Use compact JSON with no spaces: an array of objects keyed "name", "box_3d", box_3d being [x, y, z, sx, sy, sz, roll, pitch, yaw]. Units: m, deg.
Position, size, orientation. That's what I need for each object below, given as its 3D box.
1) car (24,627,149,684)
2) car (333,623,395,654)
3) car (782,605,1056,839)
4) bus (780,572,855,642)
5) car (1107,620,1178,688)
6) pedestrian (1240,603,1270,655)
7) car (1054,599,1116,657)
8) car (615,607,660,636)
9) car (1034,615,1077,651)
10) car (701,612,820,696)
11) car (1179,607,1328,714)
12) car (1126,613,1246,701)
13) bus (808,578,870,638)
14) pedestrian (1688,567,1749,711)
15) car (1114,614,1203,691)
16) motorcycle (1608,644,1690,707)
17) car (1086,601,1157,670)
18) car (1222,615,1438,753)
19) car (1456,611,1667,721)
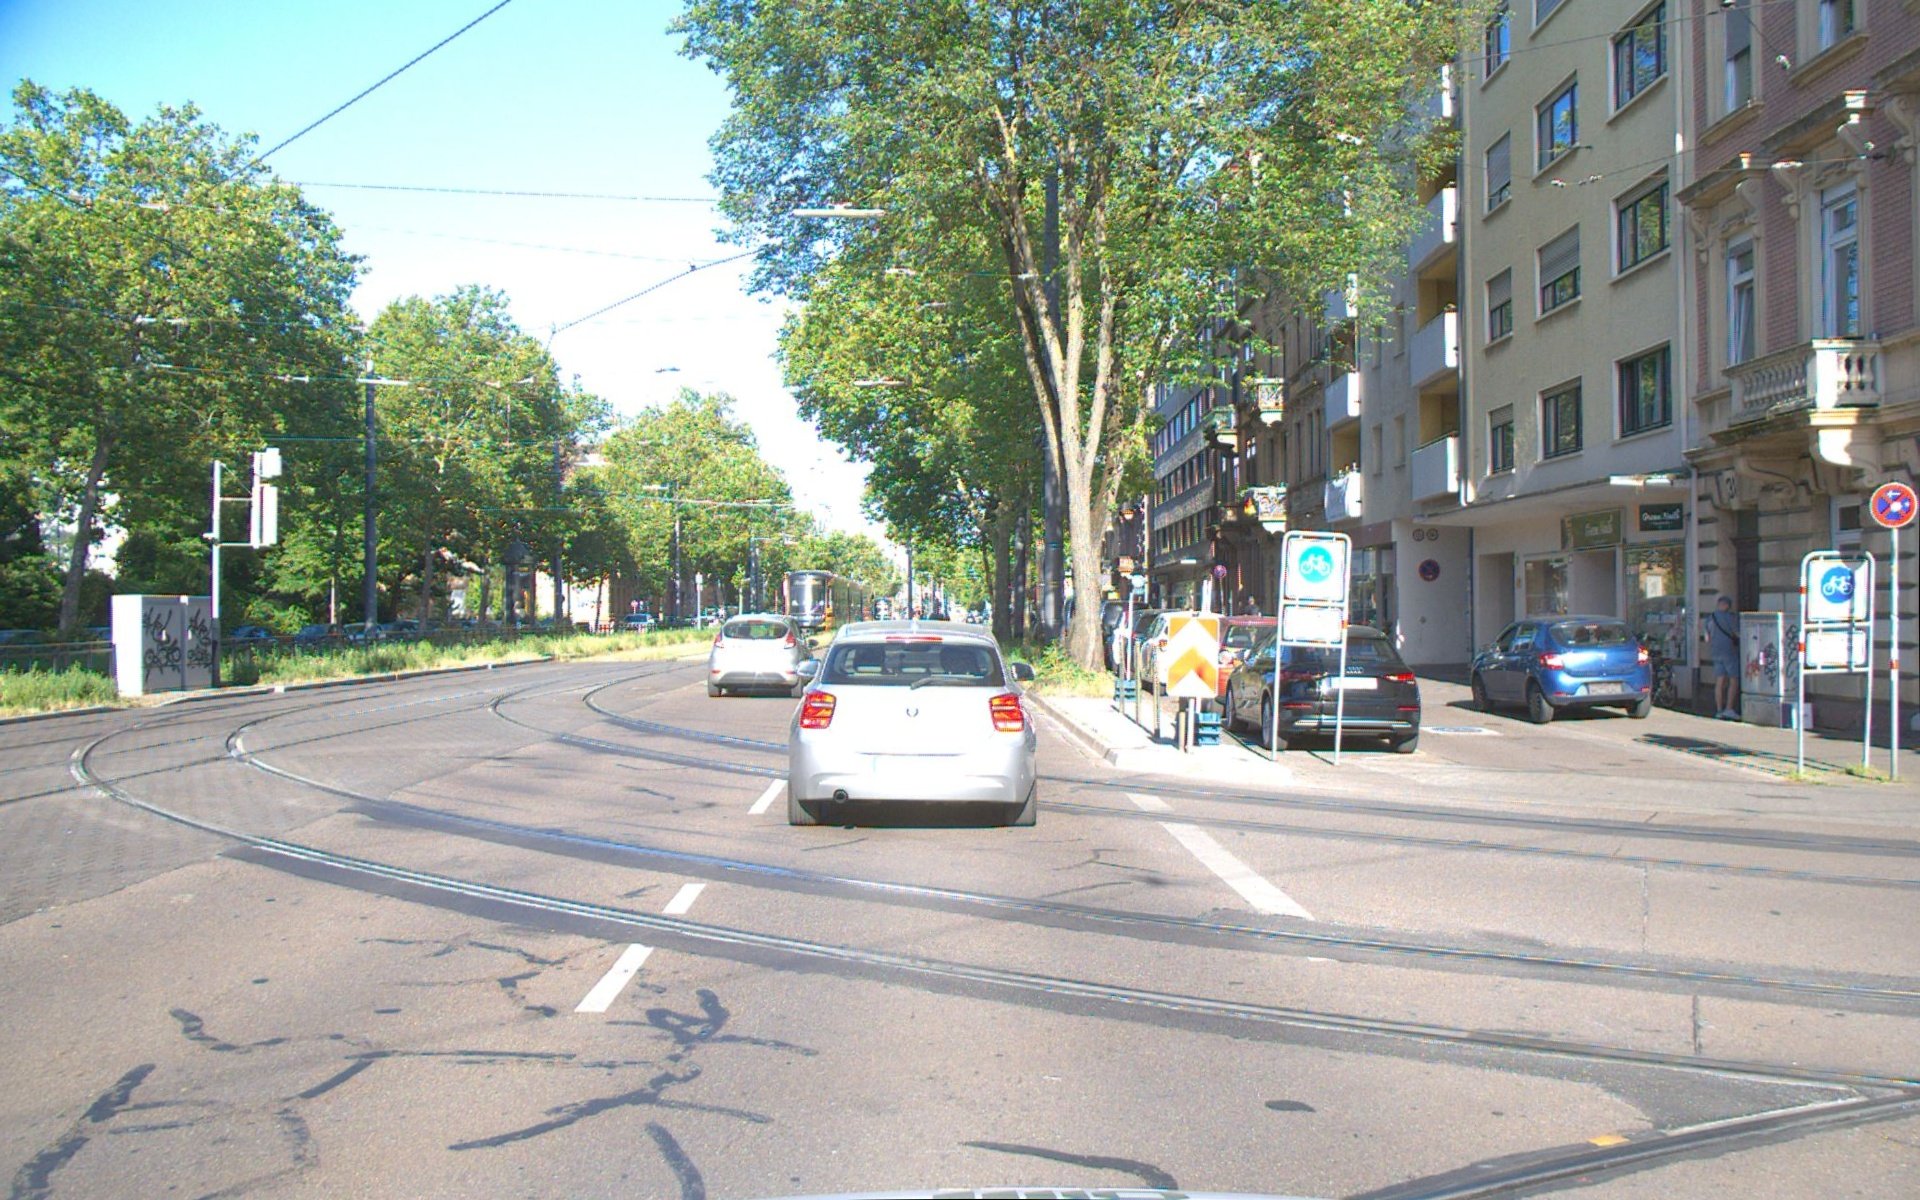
[{"name":"car","box_3d":[-27.948,1.741,53.065,1.953,1.650,3.998,2,0,-2]},{"name":"car","box_3d":[-27.273,1.741,75.773,1.536,1.335,3.503,2,0,0]},{"name":"car","box_3d":[-0.273,0.806,12.718,1.726,1.457,3.999,2,0,0]},{"name":"bus","box_3d":[-7.605,0.380,90.206,2.810,3.504,13.217,0,0,1]},{"name":"car","box_3d":[4.340,1.256,39.659,1.480,1.506,3.493,2,0,3]},{"name":"pedestrian","box_3d":[10.698,1.041,60.028,0.979,1.872,0.715,0,-1,2]},{"name":"car","box_3d":[4.244,0.944,56.676,1.826,1.847,4.800,2,0,1]},{"name":"car","box_3d":[-19.763,1.309,101.496,1.847,1.648,4.597,2,0,-1]},{"name":"car","box_3d":[4.314,1.518,75.470,1.768,1.516,4.920,2,-1,2]},{"name":"car","box_3d":[-3.570,0.940,30.172,1.613,1.386,3.760,2,0,1]},{"name":"car","box_3d":[4.404,0.868,25.321,1.556,1.459,3.905,2,0,0]},{"name":"car","box_3d":[4.187,1.024,31.102,1.593,1.503,3.696,2,0,-2]},{"name":"bus","box_3d":[-7.399,0.472,102.882,2.810,3.504,12.215,0,0,1]},{"name":"pedestrian","box_3d":[11.128,0.563,24.281,0.501,2.049,0.852,2,-1,4]},{"name":"car","box_3d":[4.214,1.089,35.507,1.529,1.511,3.787,2,0,2]},{"name":"motorcycle","box_3d":[10.881,1.177,26.180,0.476,0.911,1.872,-3,0,0]},{"name":"car","box_3d":[4.214,0.911,43.702,1.592,1.697,4.142,2,0,2]},{"name":"car","box_3d":[4.387,0.939,20.205,1.662,1.446,4.169,2,0,0]},{"name":"car","box_3d":[9.292,0.964,25.889,1.659,1.506,3.998,-3,0,-2]}]
